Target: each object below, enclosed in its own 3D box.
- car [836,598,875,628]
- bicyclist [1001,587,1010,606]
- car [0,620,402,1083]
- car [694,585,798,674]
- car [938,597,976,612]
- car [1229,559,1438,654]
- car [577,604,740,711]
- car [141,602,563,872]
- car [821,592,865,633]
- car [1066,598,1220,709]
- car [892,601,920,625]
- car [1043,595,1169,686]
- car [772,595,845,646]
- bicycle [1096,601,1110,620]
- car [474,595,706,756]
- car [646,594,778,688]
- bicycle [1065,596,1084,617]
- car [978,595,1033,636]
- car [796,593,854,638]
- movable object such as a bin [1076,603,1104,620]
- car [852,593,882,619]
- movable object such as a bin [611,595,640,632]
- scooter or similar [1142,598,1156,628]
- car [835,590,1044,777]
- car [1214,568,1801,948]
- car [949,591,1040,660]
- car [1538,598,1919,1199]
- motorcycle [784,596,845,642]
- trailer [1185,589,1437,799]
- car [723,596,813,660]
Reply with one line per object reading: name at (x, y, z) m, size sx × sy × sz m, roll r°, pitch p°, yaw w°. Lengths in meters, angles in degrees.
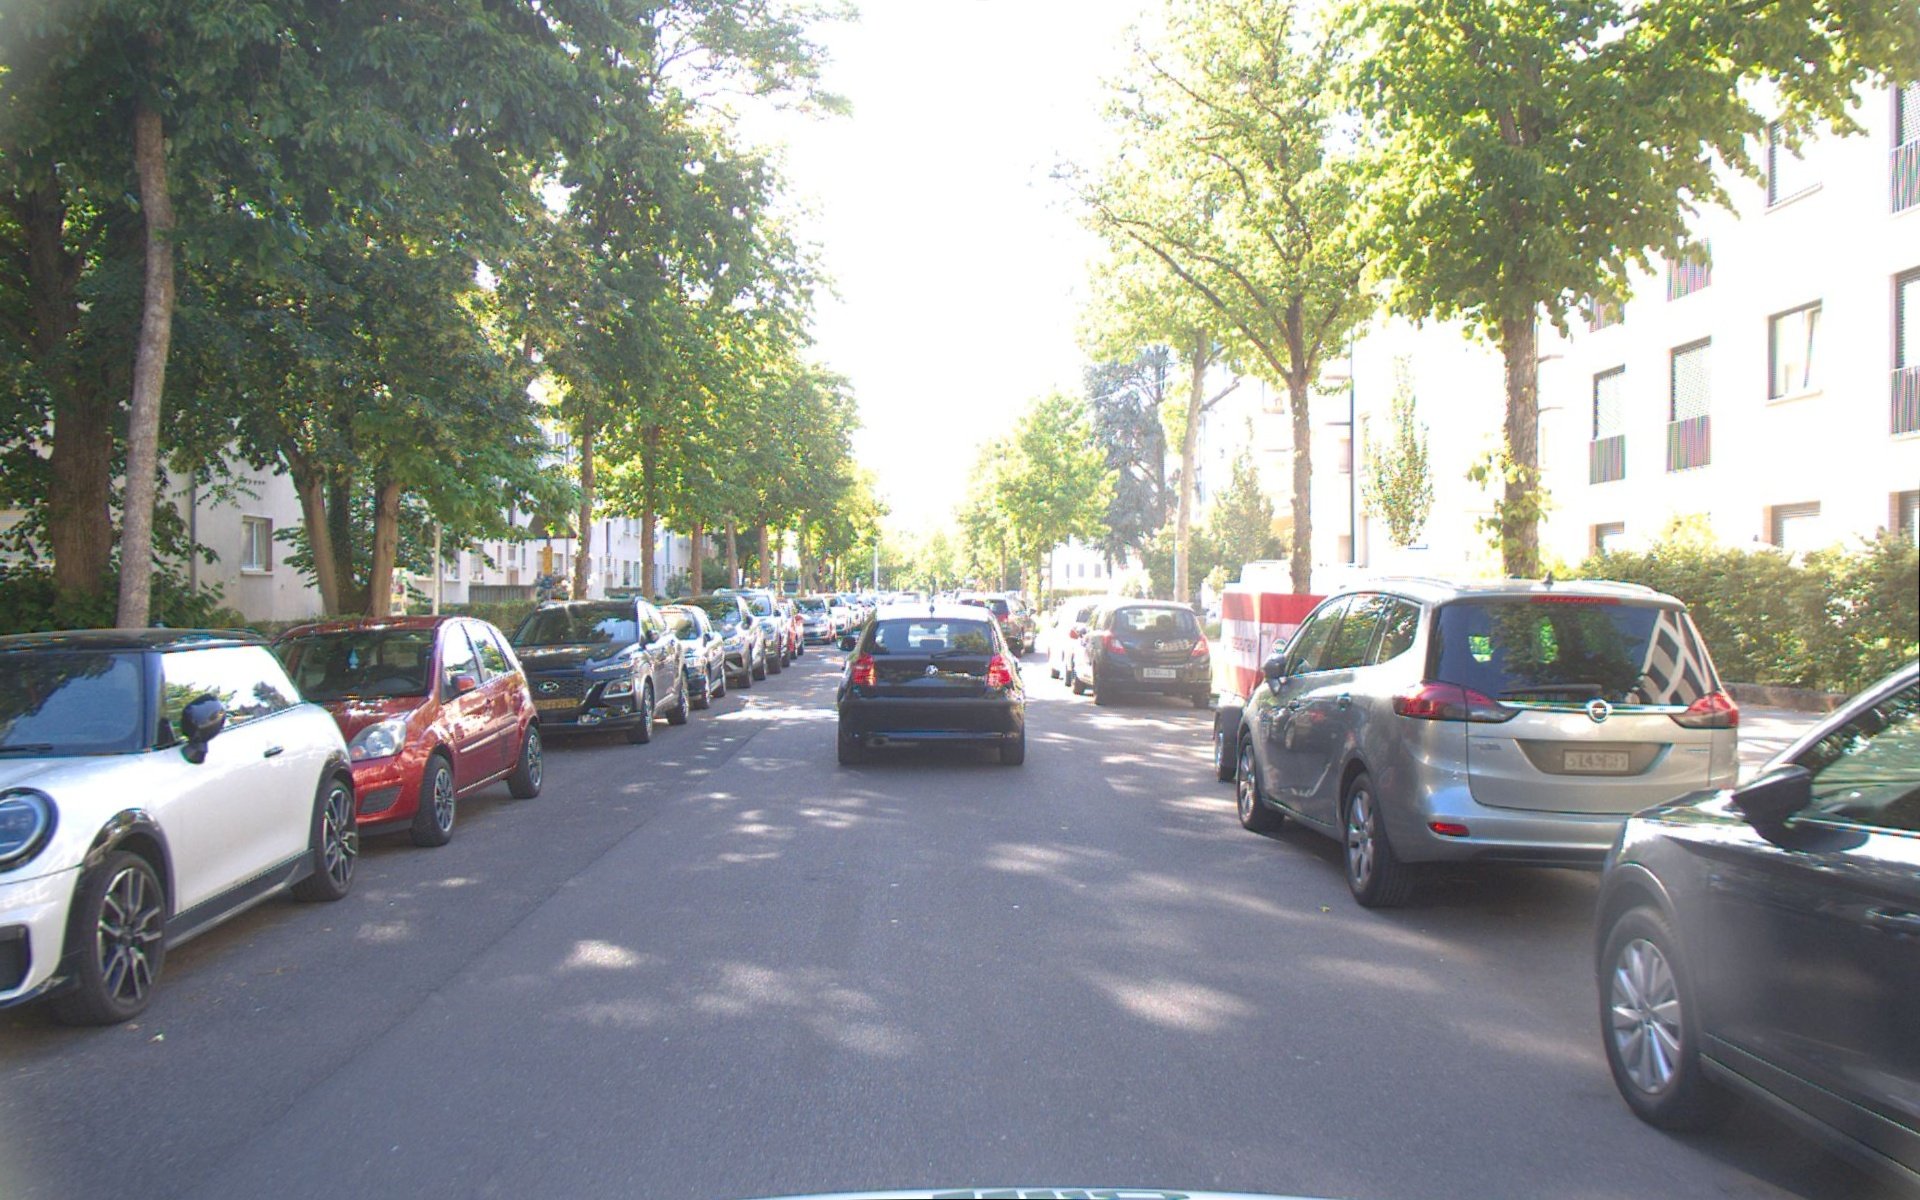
car at (-5.313, 0.641, 84.600) m, size 1.743 × 1.403 × 4.261 m, roll -2°, pitch 0°, yaw -1°
bicyclist at (3.870, -0.324, 141.068) m, size 0.663 × 1.638 × 0.921 m, roll -1°, pitch 0°, yaw -5°
car at (-3.899, 0.832, 7.262) m, size 1.621 × 1.397 × 4.187 m, roll -1°, pitch 0°, yaw -3°
car at (-4.435, 0.571, 34.944) m, size 1.732 × 1.717 × 4.812 m, roll -1°, pitch 0°, yaw -2°
car at (-0.359, 0.458, 176.948) m, size 3.909 × 1.615 × 1.725 m, roll 0°, pitch 0°, yaw -6°
car at (9.662, 0.130, 42.763) m, size 4.976 × 2.346 × 2.217 m, roll -1°, pitch 0°, yaw -25°
car at (-4.315, 0.769, 24.280) m, size 1.749 × 1.376 × 4.479 m, roll -1°, pitch 0°, yaw -3°
car at (-4.047, 0.800, 11.730) m, size 1.621 × 1.531 × 4.067 m, roll -1°, pitch 0°, yaw -3°
car at (-5.065, 0.531, 72.241) m, size 1.694 × 1.646 × 4.364 m, roll -4°, pitch 0°, yaw -2°
car at (2.667, 0.739, 24.978) m, size 1.637 × 1.476 × 4.177 m, roll 2°, pitch 0°, yaw -3°
car at (-3.560, 0.860, 108.114) m, size 1.773 × 1.471 × 4.364 m, roll -2°, pitch 0°, yaw -2°
car at (2.530, 0.675, 29.545) m, size 1.698 × 1.513 × 4.007 m, roll 0°, pitch 0°, yaw -3°
car at (-4.762, 0.616, 52.621) m, size 2.001 × 1.551 × 4.605 m, roll 0°, pitch 0°, yaw -2°
bicycle at (7.514, 0.556, 87.035) m, size 0.569 × 0.992 × 1.903 m, roll -1°, pitch 0°, yaw 0°
car at (-4.109, 0.761, 19.072) m, size 1.671 × 1.604 × 4.481 m, roll -1°, pitch 0°, yaw -1°
car at (-4.371, 0.680, 29.708) m, size 1.733 × 1.558 × 4.419 m, roll 0°, pitch 0°, yaw -1°
bicycle at (7.104, 0.380, 102.904) m, size 0.822 × 1.279 × 2.229 m, roll 0°, pitch 0°, yaw -5°
car at (1.744, 0.579, 65.241) m, size 1.785 × 1.495 × 4.907 m, roll 1°, pitch 0°, yaw -3°
car at (-4.927, 0.539, 60.493) m, size 2.023 × 1.551 × 4.718 m, roll 0°, pitch 0°, yaw -4°
movable object such as a bin at (7.124, 0.615, 90.534) m, size 1.196 × 0.920 × 1.665 m, roll 0°, pitch 0°, yaw 19°
car at (-5.878, 0.386, 105.241) m, size 1.775 × 1.624 × 4.231 m, roll -1°, pitch 0°, yaw -2°
movable object such as a bin at (-12.524, 0.493, 61.981) m, size 0.912 × 1.347 × 1.377 m, roll -1°, pitch 0°, yaw -7°
scooter or similar at (7.604, 0.518, 66.522) m, size 0.393 × 1.205 × 1.207 m, roll 0°, pitch 1°, yaw 14°
car at (-0.240, 0.698, 16.020) m, size 1.747 × 1.550 × 3.998 m, roll -1°, pitch 0°, yaw -2°
car at (2.860, 0.714, 9.910) m, size 1.756 × 1.672 × 4.817 m, roll 2°, pitch 0°, yaw -2°
car at (0.776, 0.610, 40.204) m, size 1.858 × 1.551 × 4.964 m, roll 1°, pitch -1°, yaw -3°
car at (2.924, 0.780, 3.734) m, size 1.683 × 1.543 × 4.344 m, roll 1°, pitch 0°, yaw -1°
motorcycle at (-4.983, 0.654, 56.514) m, size 0.981 × 1.530 × 2.200 m, roll -1°, pitch 0°, yaw -41°
trailer at (2.997, 0.736, 14.679) m, size 1.542 × 1.606 × 3.192 m, roll 2°, pitch 0°, yaw 1°
car at (-4.731, 0.653, 41.196) m, size 1.818 × 1.495 × 4.181 m, roll 0°, pitch 0°, yaw -1°
